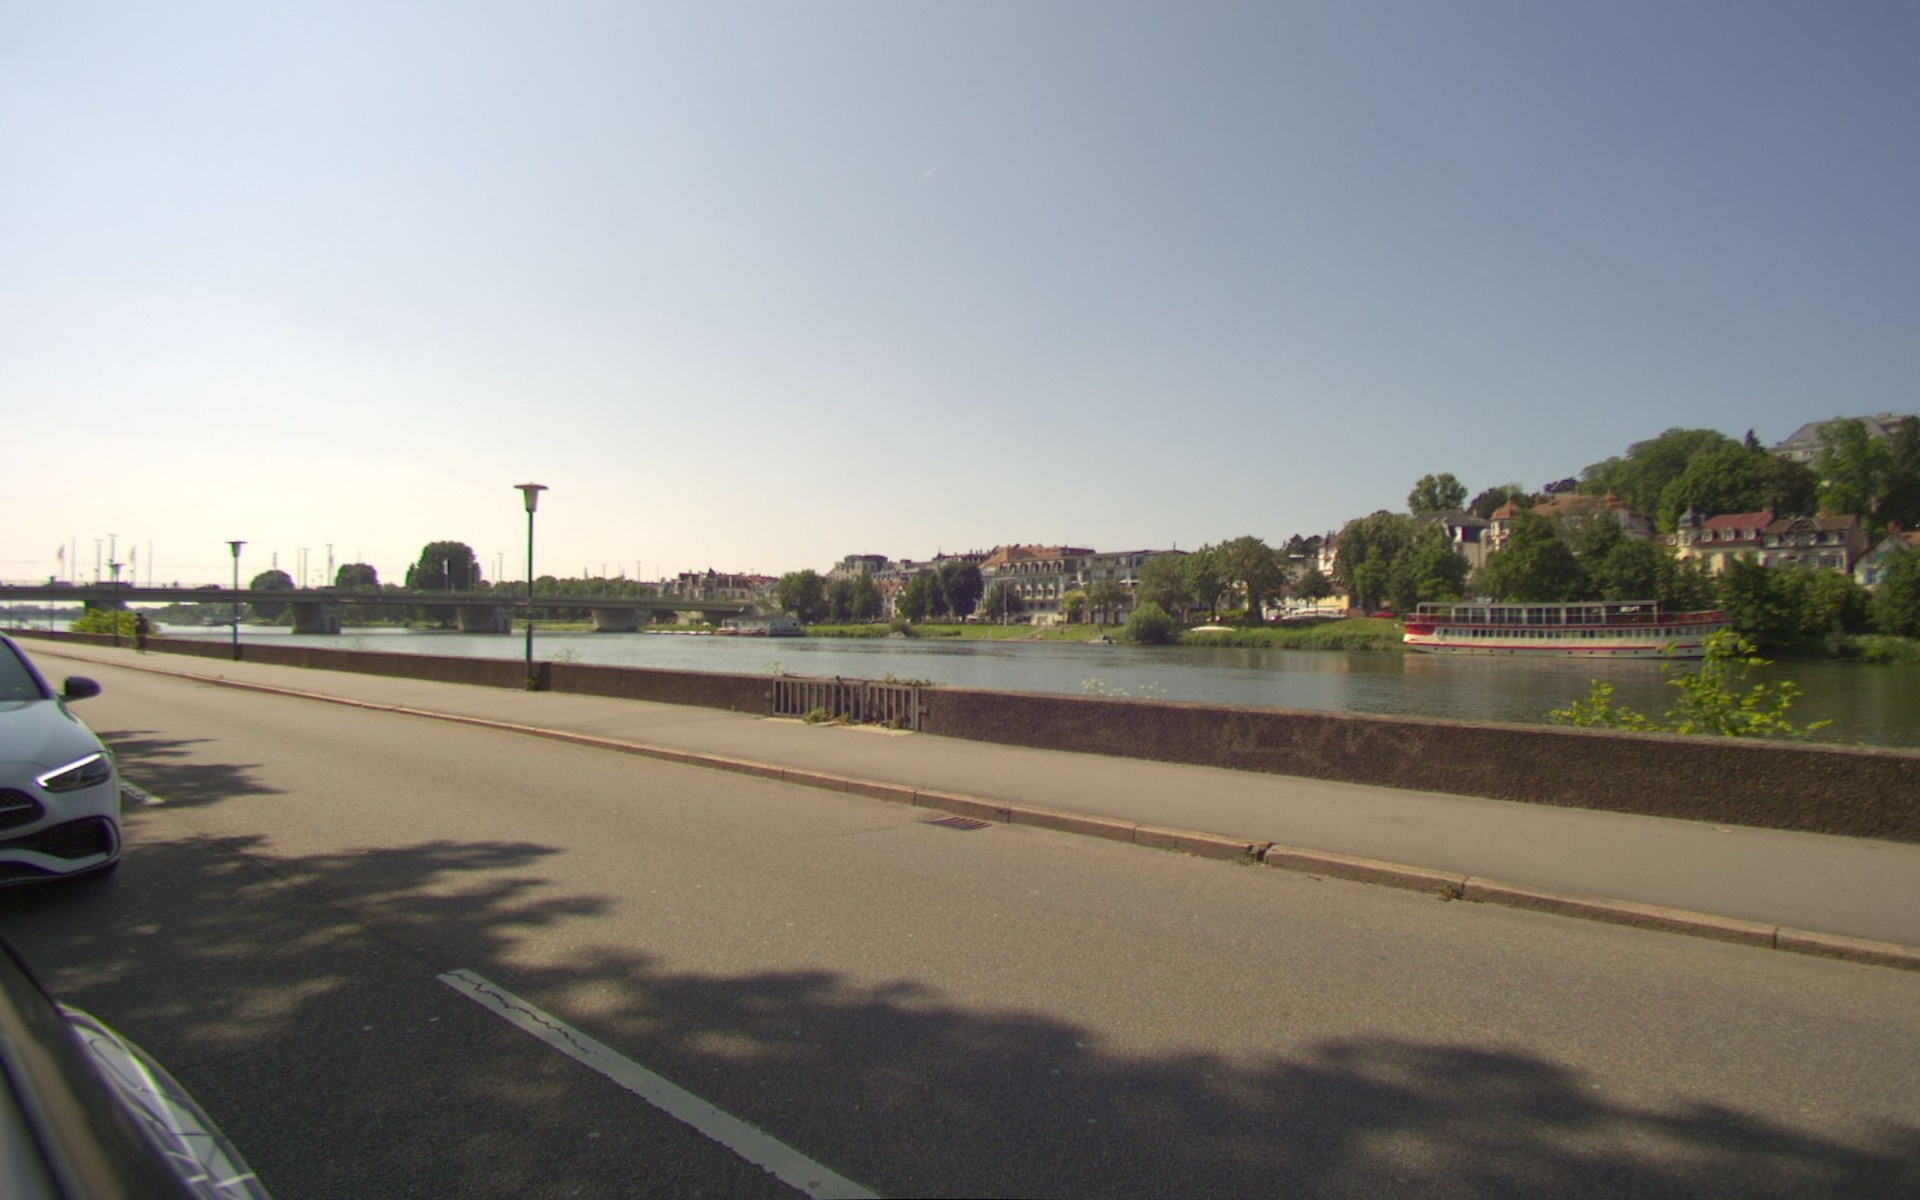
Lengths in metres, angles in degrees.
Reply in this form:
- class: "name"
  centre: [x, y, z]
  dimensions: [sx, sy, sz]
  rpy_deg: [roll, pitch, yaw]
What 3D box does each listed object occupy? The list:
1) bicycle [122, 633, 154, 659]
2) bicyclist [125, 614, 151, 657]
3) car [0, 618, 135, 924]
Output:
- class: "bicycle"
  centre: [-32.821, 1.833, 40.392]
  dimensions: [1.985, 1.019, 0.626]
  rpy_deg: [-1, -2, 41]
- class: "bicyclist"
  centre: [-32.831, 1.409, 40.410]
  dimensions: [0.870, 1.686, 0.631]
  rpy_deg: [-1, -2, 41]
- class: "car"
  centre: [-6.478, 0.849, 5.984]
  dimensions: [4.551, 1.430, 1.806]
  rpy_deg: [-1, -1, 42]
